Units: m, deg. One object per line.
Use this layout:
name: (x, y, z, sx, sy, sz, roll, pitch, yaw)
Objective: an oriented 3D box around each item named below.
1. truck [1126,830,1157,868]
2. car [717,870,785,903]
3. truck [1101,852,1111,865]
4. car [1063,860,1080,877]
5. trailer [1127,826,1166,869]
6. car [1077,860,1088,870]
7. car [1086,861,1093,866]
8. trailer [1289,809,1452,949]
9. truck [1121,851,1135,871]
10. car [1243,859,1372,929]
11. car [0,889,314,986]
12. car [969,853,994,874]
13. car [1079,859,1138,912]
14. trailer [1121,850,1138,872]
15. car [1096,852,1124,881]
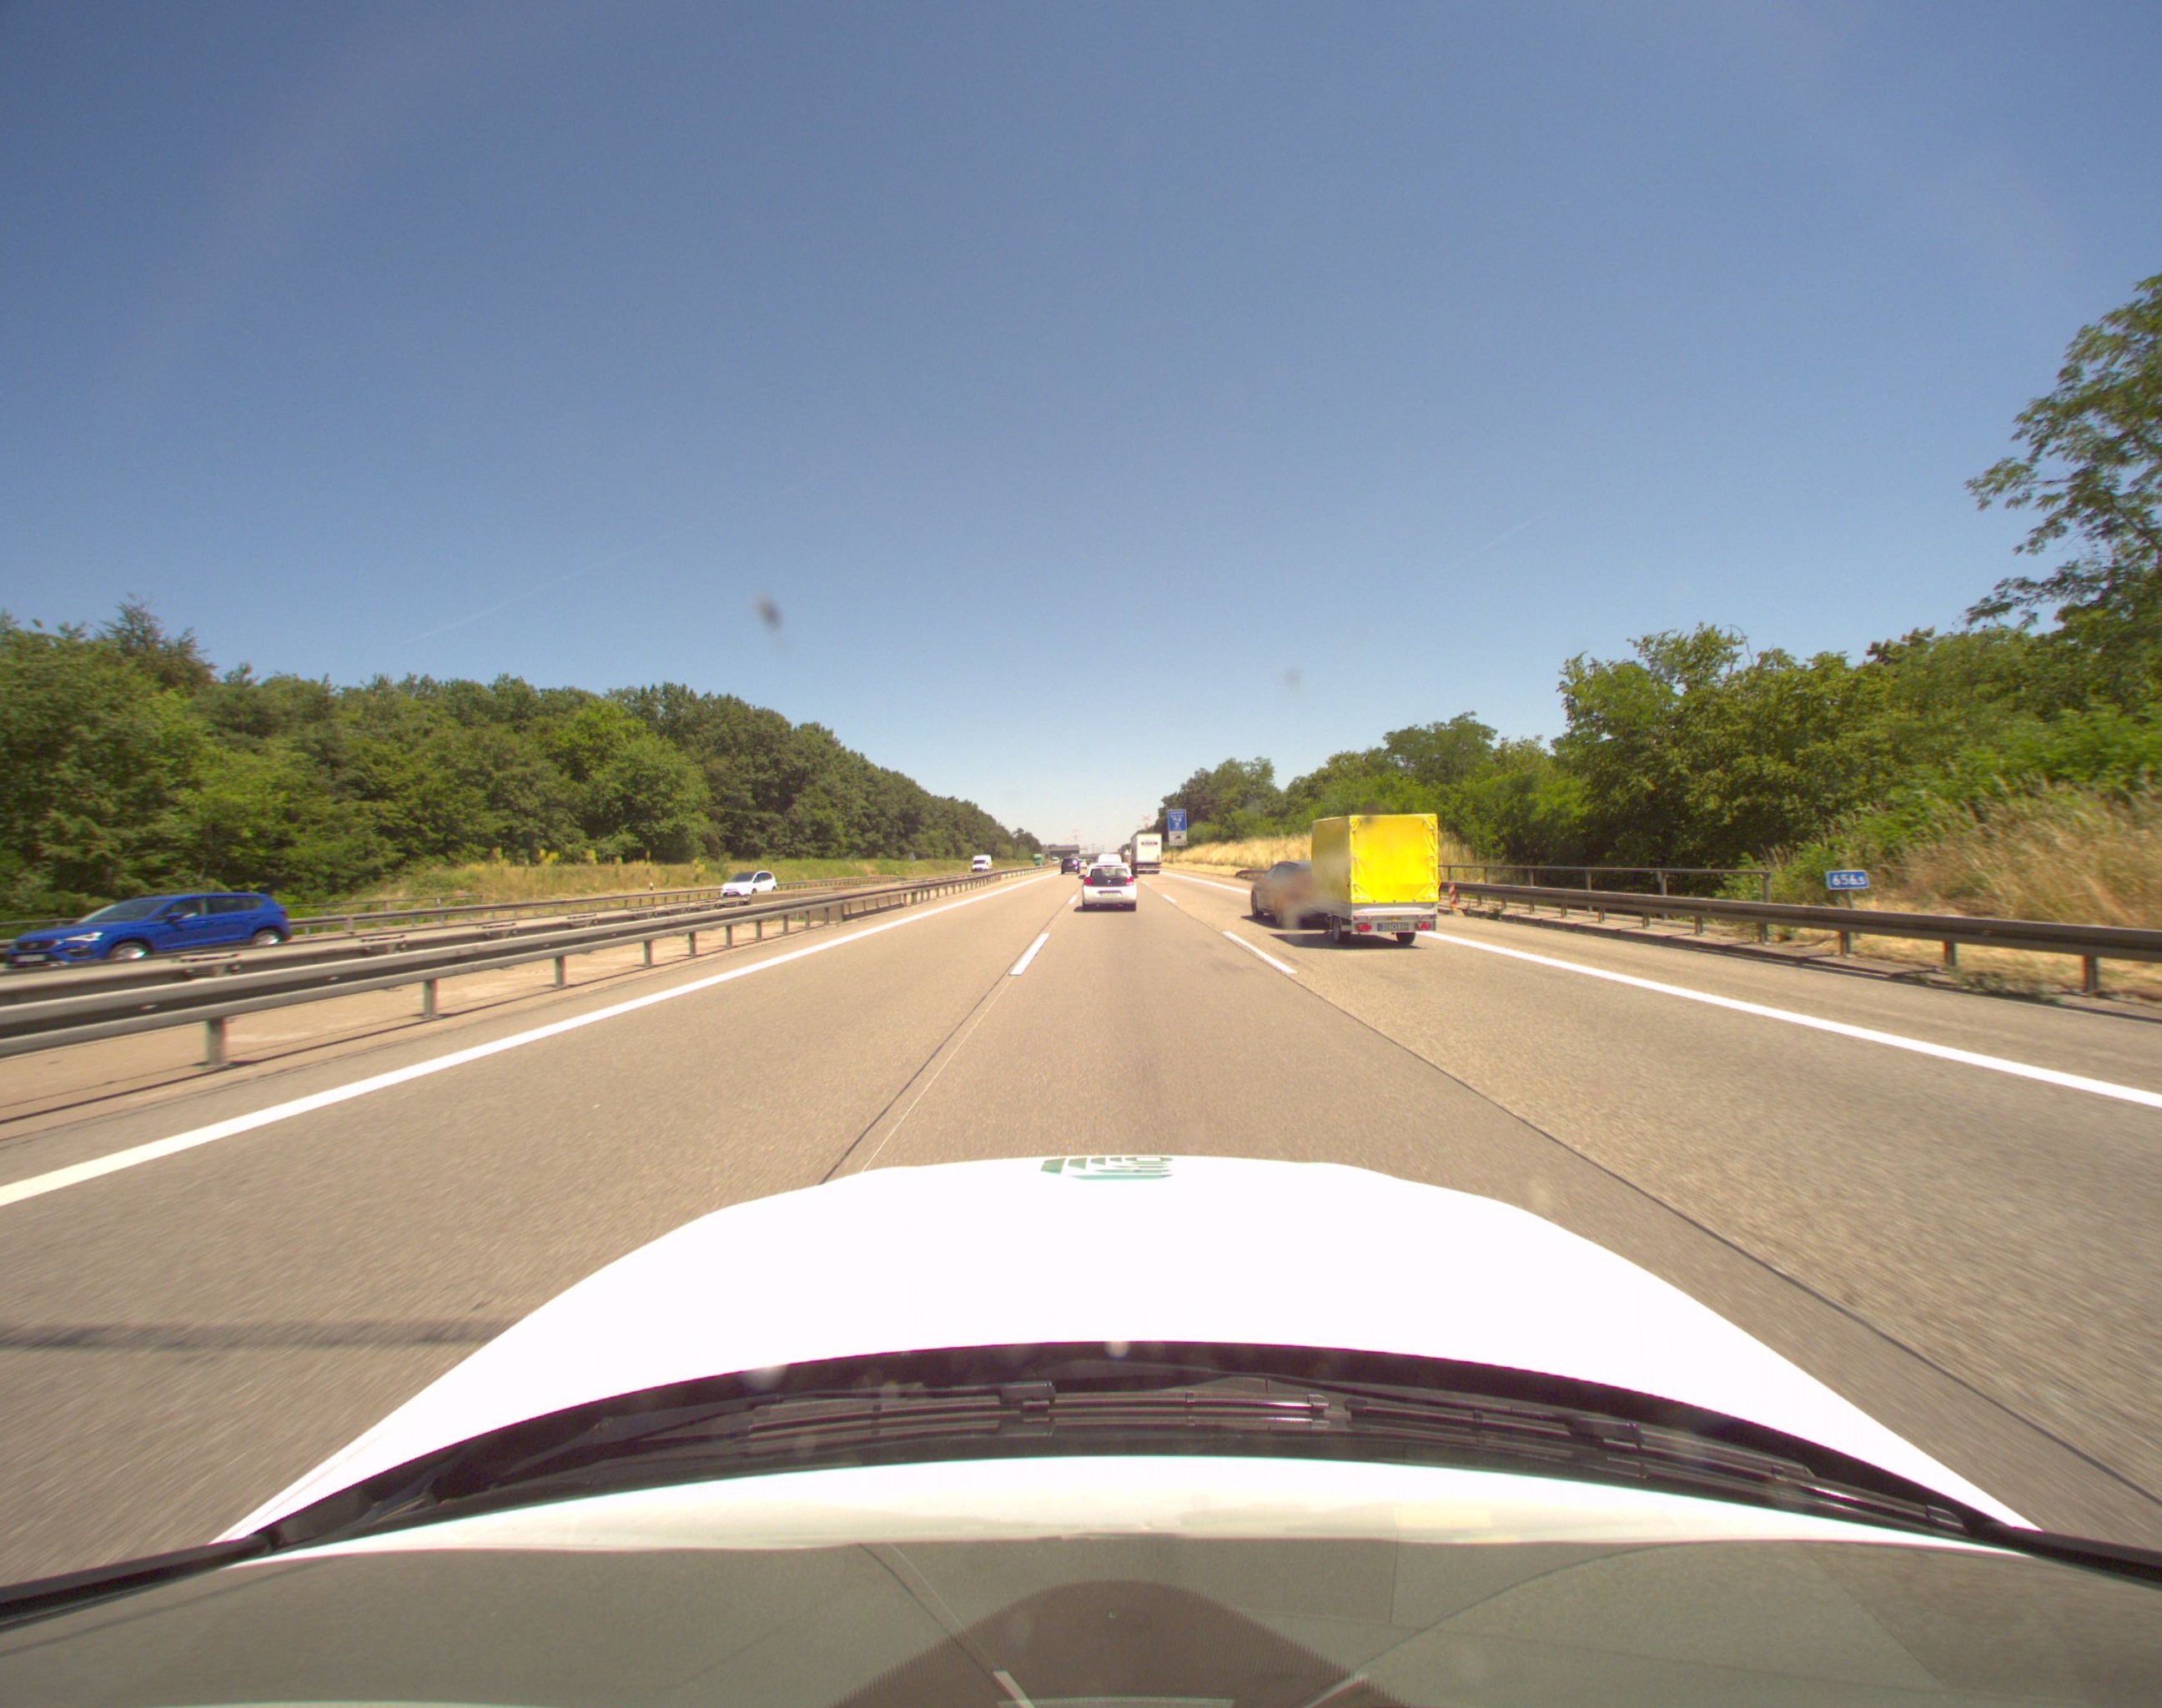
truck: (6.942, -0.480, 93.872, 3.274, 4.219, 6.008, 0, -1, 1)
car: (-19.277, 1.842, 47.860, 1.696, 1.661, 5.118, -4, 0, 1)
truck: (5.540, 1.063, 181.166, 2.053, 2.914, 7.004, -1, -1, 1)
car: (-0.950, 1.525, 85.693, 1.620, 1.755, 3.805, -1, 0, 1)
trailer: (6.799, -0.537, 86.576, 3.274, 4.219, 13.566, 0, -1, 1)
car: (0.212, 1.727, 127.420, 1.664, 1.401, 3.712, -1, 0, 0)
car: (2.248, 2.506, 213.622, 1.601, 1.300, 3.675, -1, 0, 1)
trailer: (5.227, 0.423, 15.232, 1.697, 2.290, 3.839, 0, -1, 0)
truck: (8.970, 1.366, 155.711, 2.673, 3.837, 4.444, 0, -1, 1)
car: (5.255, 0.861, 19.572, 1.815, 1.456, 4.788, 0, -1, 0)
car: (-19.811, 1.690, 17.766, 1.696, 1.545, 4.536, -4, 0, 1)
car: (-13.784, 1.308, 113.250, 2.157, 2.624, 7.545, -4, 0, 1)
car: (0.848, 0.919, 25.479, 1.702, 1.495, 4.025, -1, 0, 1)
trailer: (8.854, 1.291, 150.048, 2.673, 3.837, 12.011, 0, -1, 1)
car: (1.955, 0.858, 56.395, 1.808, 1.827, 5.111, -1, -1, 1)
